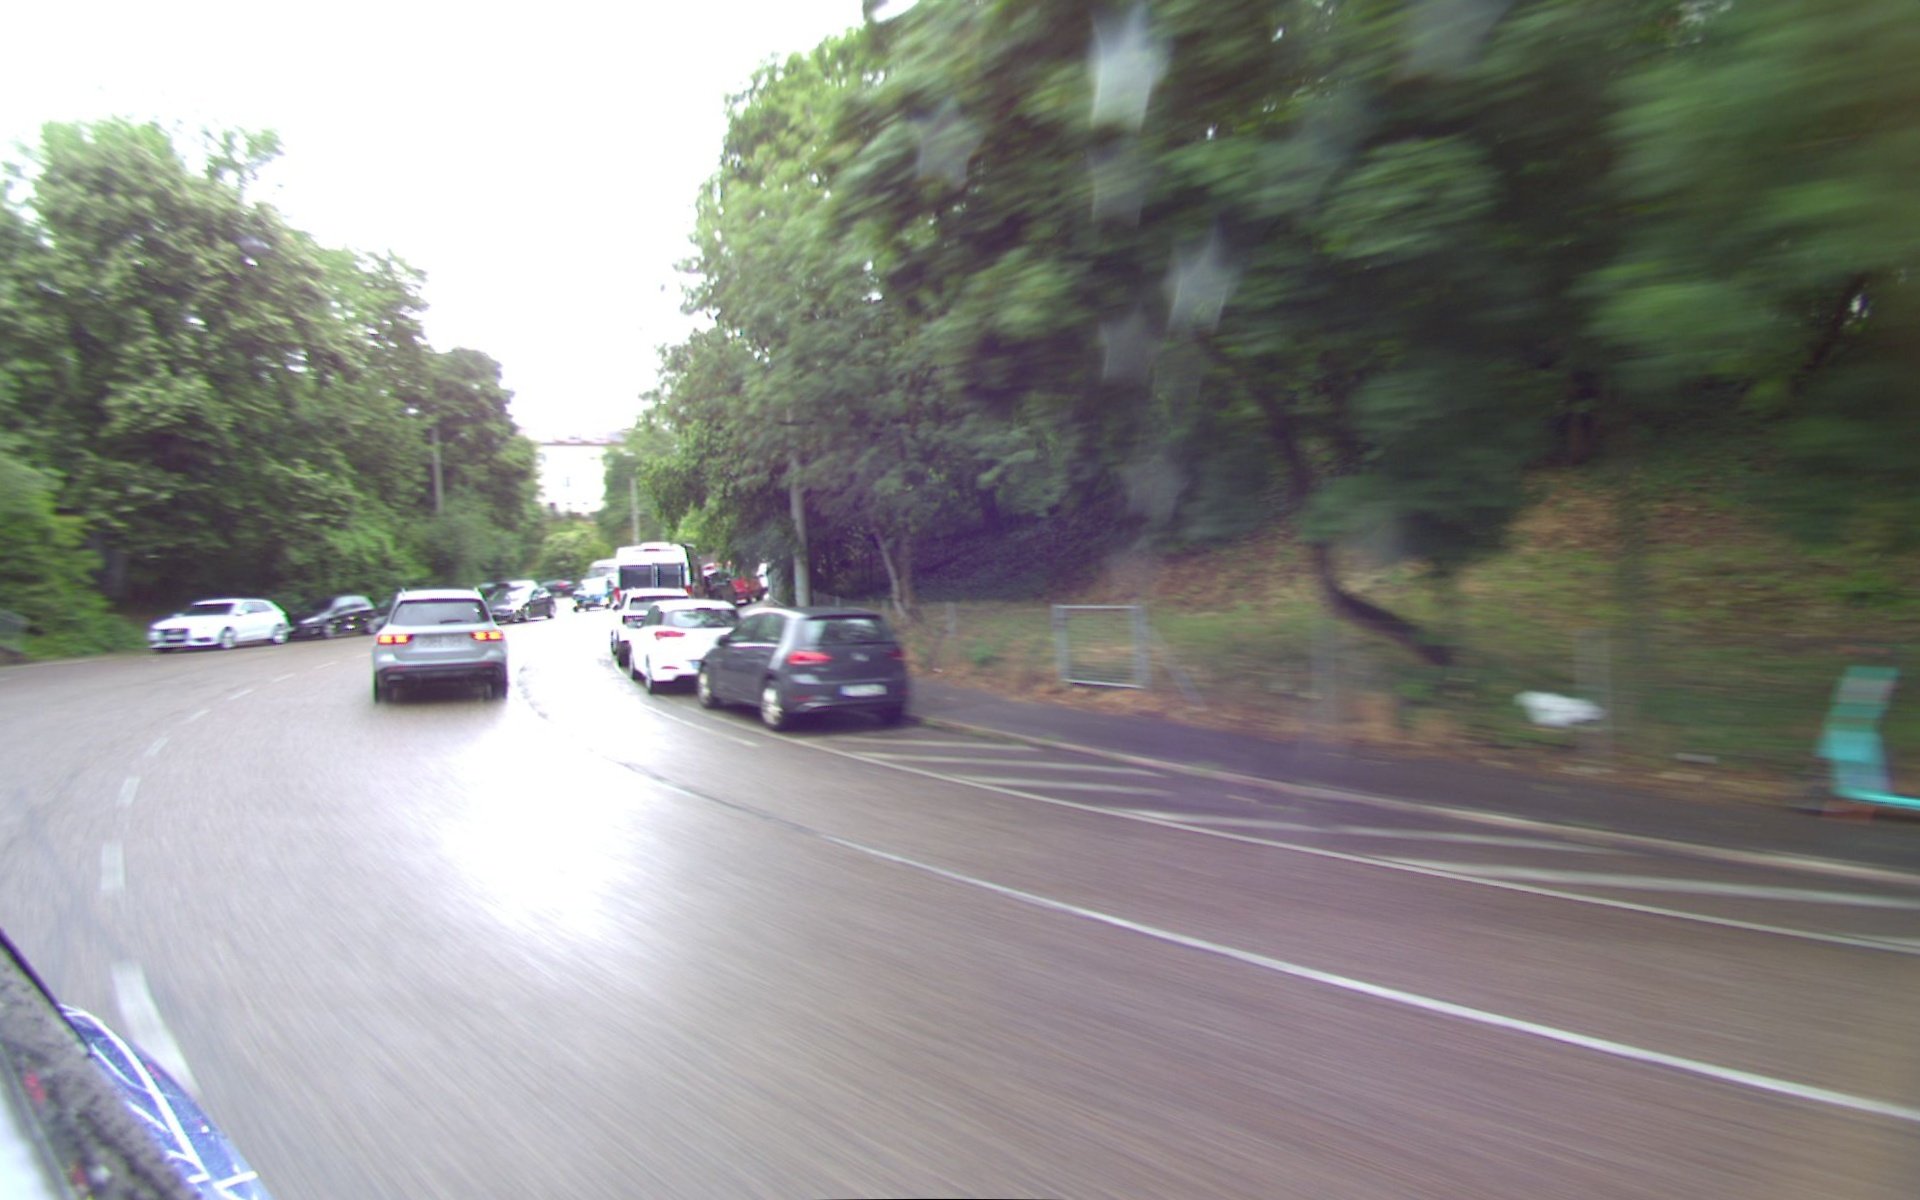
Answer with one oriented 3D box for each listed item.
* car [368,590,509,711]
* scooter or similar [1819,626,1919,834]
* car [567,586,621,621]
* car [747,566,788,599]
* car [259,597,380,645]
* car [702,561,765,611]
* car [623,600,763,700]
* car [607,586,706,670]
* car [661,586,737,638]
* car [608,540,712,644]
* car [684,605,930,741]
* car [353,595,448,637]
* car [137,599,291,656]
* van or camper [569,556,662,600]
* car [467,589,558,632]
[{"bbox_3d":[-8.457,0.682,16.412,1.792,1.682,4.323,0,1,-28],"label":"car"},{"bbox_3d":[6.537,0.851,6.506,0.600,1.277,1.440,-5,3,-38],"label":"scooter or similar"},{"bbox_3d":[-18.820,0.210,52.202,1.967,1.683,4.541,-1,-1,-12],"label":"car"},{"bbox_3d":[-9.995,-0.922,52.736,1.717,1.489,4.206,-6,2,-7],"label":"car"},{"bbox_3d":[-21.708,0.663,34.467,1.641,1.435,3.970,-4,0,-2],"label":"car"},{"bbox_3d":[-9.218,-0.633,41.454,1.730,1.780,4.140,-3,3,-2],"label":"car"},{"bbox_3d":[-4.755,0.760,17.636,1.727,1.467,4.061,0,1,-24],"label":"car"},{"bbox_3d":[-6.817,0.540,22.465,1.778,1.594,4.039,-1,2,-21],"label":"car"},{"bbox_3d":[-9.158,0.383,35.868,1.969,1.631,4.404,2,1,-6],"label":"car"},{"bbox_3d":[-8.458,-0.345,29.119,2.047,2.568,6.361,-3,3,-10],"label":"car"},{"bbox_3d":[-2.171,0.820,13.370,1.749,1.454,4.027,-1,1,-32],"label":"car"},{"bbox_3d":[-22.148,0.614,40.206,1.573,1.399,3.822,-5,1,0],"label":"car"},{"bbox_3d":[-21.386,0.749,29.246,1.733,1.411,4.102,-3,1,-7],"label":"car"},{"bbox_3d":[-26.929,-1.712,79.042,7.497,2.988,2.434,-2,3,31],"label":"van or camper"},{"bbox_3d":[-18.010,0.386,40.977,1.872,1.550,4.504,-3,1,-4],"label":"car"}]
